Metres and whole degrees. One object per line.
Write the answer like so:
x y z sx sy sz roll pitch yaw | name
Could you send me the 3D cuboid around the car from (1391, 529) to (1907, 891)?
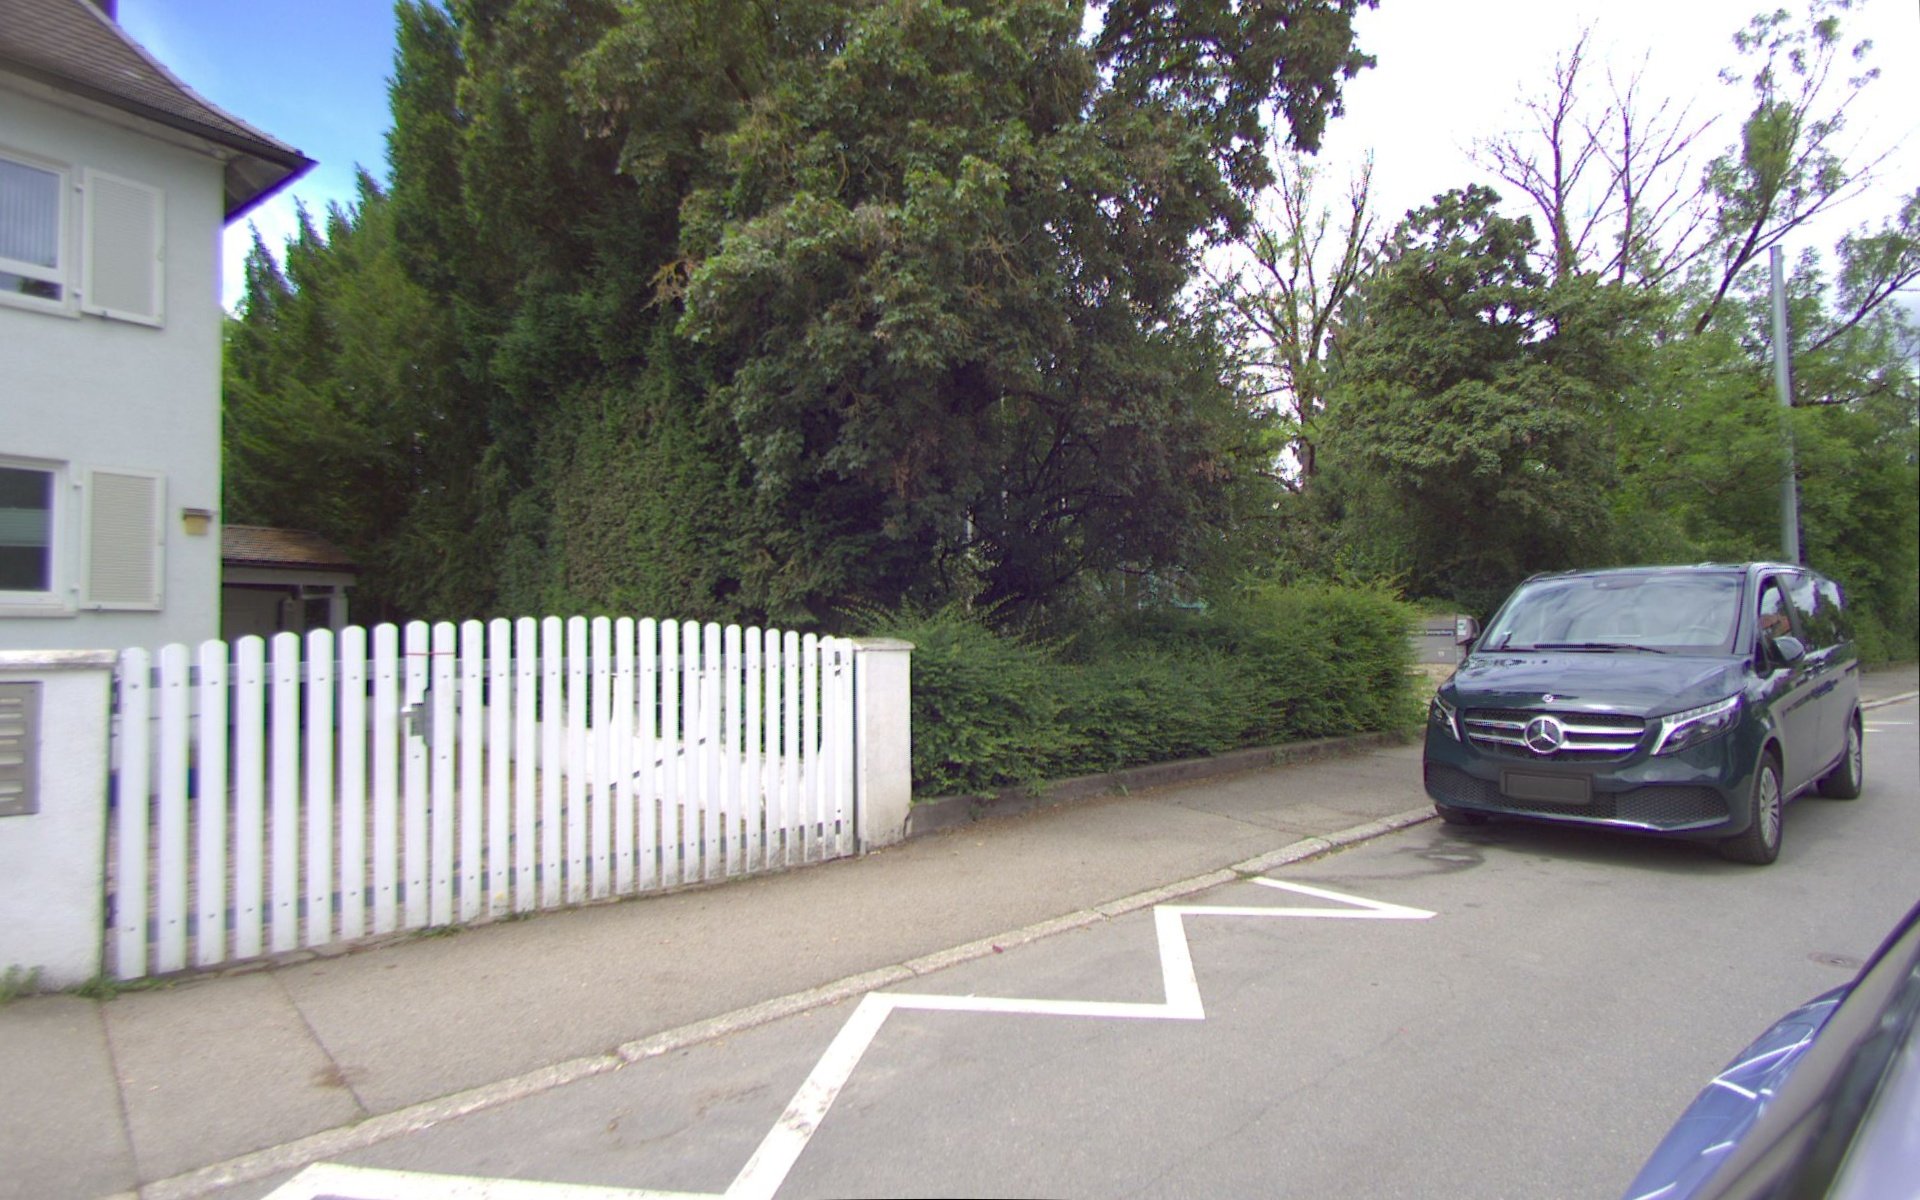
5.420 0.588 7.631 5.067 1.872 1.912 0 -2 -41 | car
